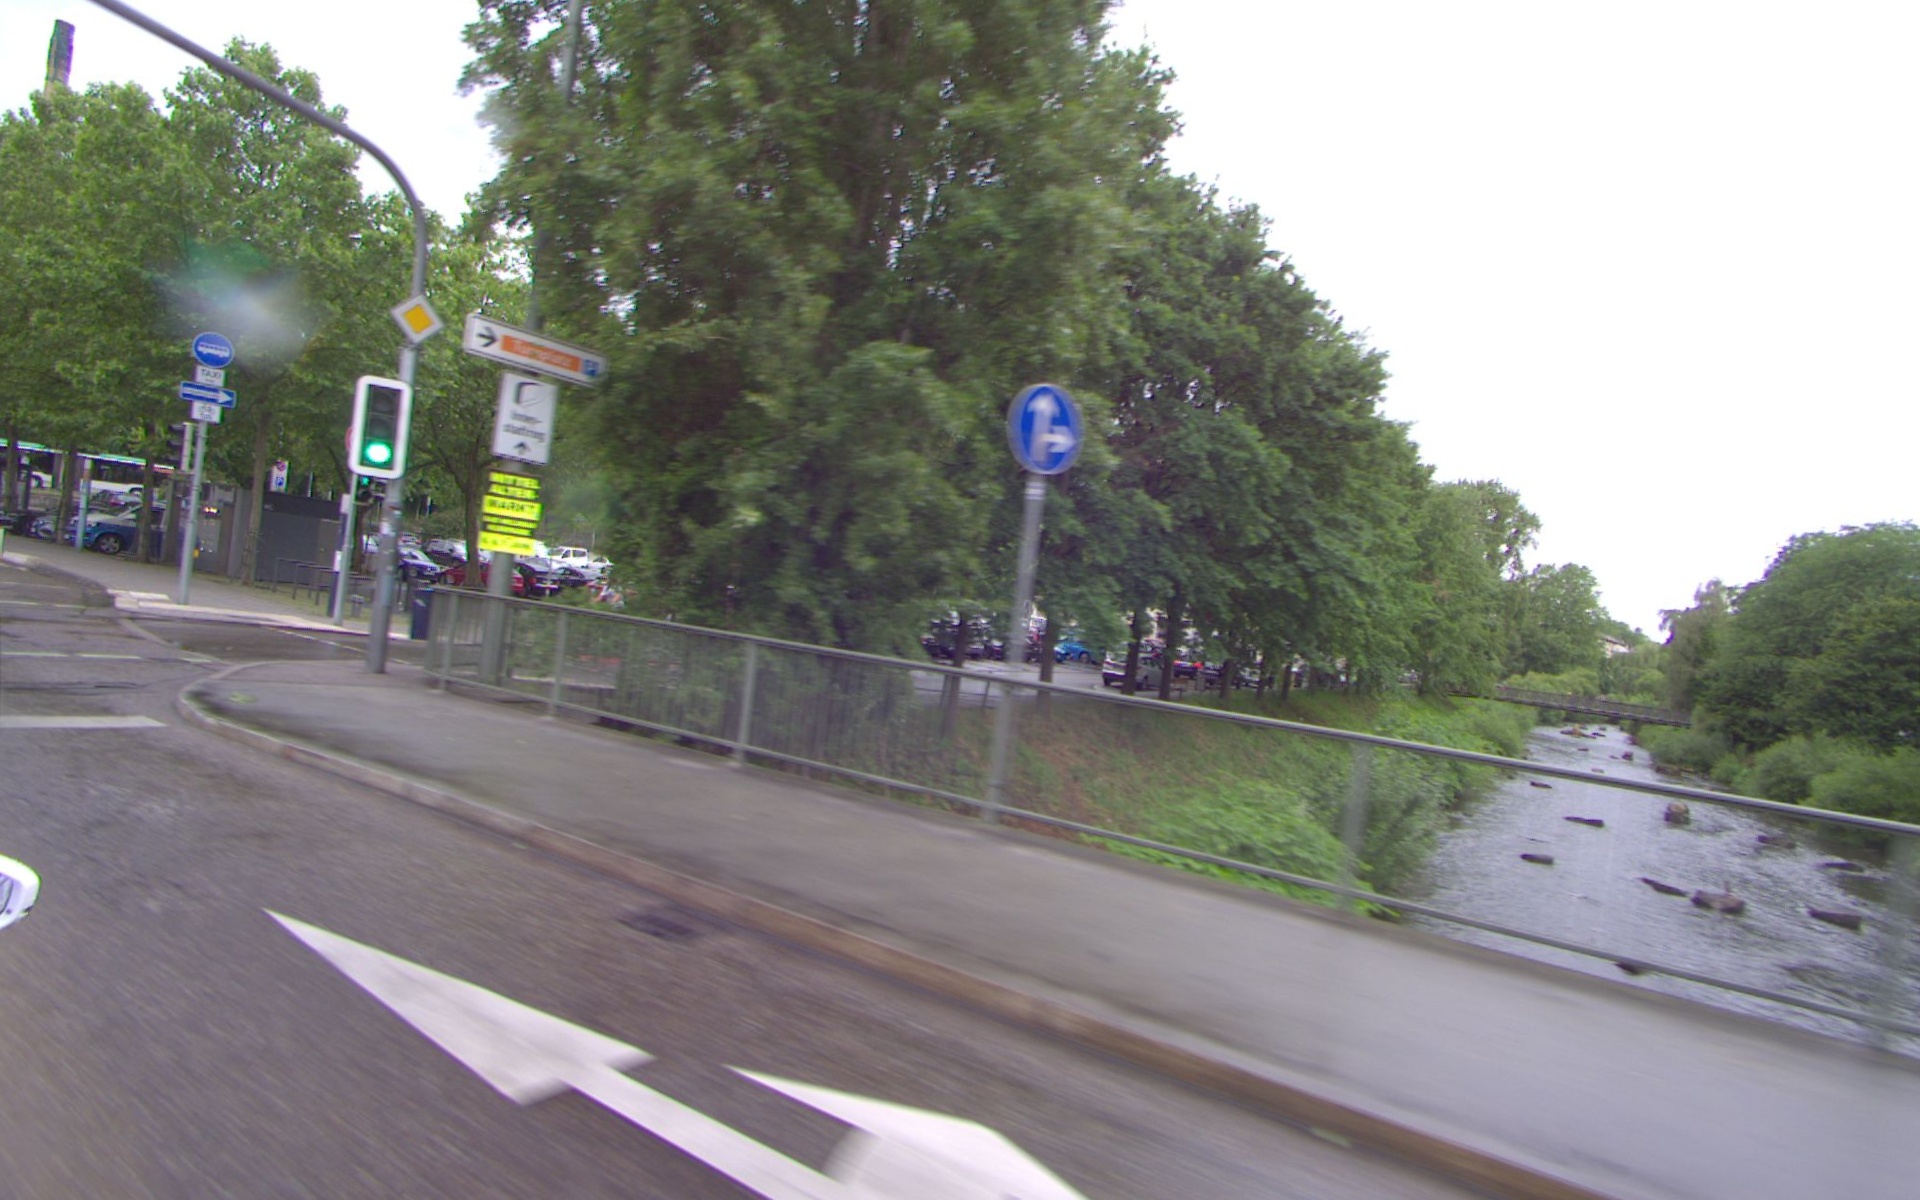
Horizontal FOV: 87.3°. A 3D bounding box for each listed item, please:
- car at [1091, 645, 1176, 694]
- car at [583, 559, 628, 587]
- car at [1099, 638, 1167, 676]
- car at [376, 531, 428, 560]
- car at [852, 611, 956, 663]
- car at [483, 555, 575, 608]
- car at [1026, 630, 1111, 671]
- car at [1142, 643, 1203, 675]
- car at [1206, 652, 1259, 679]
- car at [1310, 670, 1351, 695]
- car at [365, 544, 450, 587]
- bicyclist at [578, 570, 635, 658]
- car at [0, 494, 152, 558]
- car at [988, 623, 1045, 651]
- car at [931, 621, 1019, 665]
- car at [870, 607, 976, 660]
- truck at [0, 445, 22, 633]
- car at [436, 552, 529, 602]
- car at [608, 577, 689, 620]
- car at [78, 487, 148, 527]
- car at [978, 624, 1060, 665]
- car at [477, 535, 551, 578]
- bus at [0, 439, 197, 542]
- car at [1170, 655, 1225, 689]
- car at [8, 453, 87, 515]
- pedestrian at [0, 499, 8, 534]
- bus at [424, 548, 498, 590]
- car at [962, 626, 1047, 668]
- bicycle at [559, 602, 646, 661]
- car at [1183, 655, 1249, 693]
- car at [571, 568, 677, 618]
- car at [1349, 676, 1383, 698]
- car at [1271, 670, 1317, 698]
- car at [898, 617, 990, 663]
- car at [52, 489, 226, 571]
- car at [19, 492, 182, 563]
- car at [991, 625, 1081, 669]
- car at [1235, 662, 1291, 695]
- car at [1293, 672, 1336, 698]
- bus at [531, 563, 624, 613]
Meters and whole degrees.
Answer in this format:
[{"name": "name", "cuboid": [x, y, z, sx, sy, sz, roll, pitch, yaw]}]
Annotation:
[{"name": "car", "cuboid": [7.292, 2.934, 42.050, 1.861, 1.564, 3.992, 7, -2, 35]}, {"name": "car", "cuboid": [-30.059, -2.292, 85.247, 1.880, 1.945, 3.949, 8, 0, -45]}, {"name": "car", "cuboid": [11.832, 3.890, 68.788, 3.929, 2.004, 1.999, 8, 0, 26]}, {"name": "car", "cuboid": [-40.115, -3.899, 72.293, 3.548, 1.586, 1.634, 8, -1, 32]}, {"name": "car", "cuboid": [-2.432, 1.597, 43.383, 3.946, 1.609, 1.805, 8, -1, 28]}, {"name": "car", "cuboid": [-19.561, -0.853, 45.631, 3.938, 1.924, 1.831, 5, -5, 35]}, {"name": "car", "cuboid": [6.543, 3.063, 60.872, 4.517, 1.778, 1.934, 7, -1, 30]}, {"name": "car", "cuboid": [16.023, 4.455, 75.779, 3.929, 1.837, 1.999, 8, -1, 26]}, {"name": "car", "cuboid": [23.948, 5.759, 88.325, 3.933, 1.751, 1.953, 8, 0, 31]}, {"name": "car", "cuboid": [29.665, 6.626, 80.474, 1.968, 1.564, 3.992, 7, -2, 35]}, {"name": "car", "cuboid": [-25.209, -1.577, 45.861, 3.936, 1.450, 1.672, 7, -1, 34]}, {"name": "bicyclist", "cuboid": [-8.162, 0.331, 23.241, 0.739, 1.908, 0.645, 8, -2, 24]}, {"name": "car", "cuboid": [-33.300, -2.759, 37.893, 1.715, 1.525, 3.996, 8, -3, 34]}, {"name": "car", "cuboid": [5.028, 3.314, 89.859, 4.512, 1.869, 2.000, 7, -1, 25]}, {"name": "car", "cuboid": [0.758, 2.132, 50.289, 3.836, 1.606, 1.805, 8, -1, 28]}, {"name": "car", "cuboid": [-1.684, 1.506, 45.523, 4.270, 1.730, 1.805, 8, -1, 28]}, {"name": "truck", "cuboid": [-11.831, -0.811, 10.404, 4.642, 2.050, 2.123, 7, 0, 36]}, {"name": "car", "cuboid": [-20.488, -0.981, 43.136, 3.573, 1.672, 1.598, 7, 1, 25]}, {"name": "car", "cuboid": [-16.334, -0.090, 52.638, 3.936, 1.670, 1.822, 7, -1, 34]}, {"name": "car", "cuboid": [-50.463, -5.566, 59.917, 4.157, 1.847, 1.834, 7, -1, 32]}, {"name": "car", "cuboid": [3.190, 2.422, 54.448, 3.836, 1.606, 1.805, 8, -1, 28]}, {"name": "car", "cuboid": [-27.405, -2.697, 61.843, 3.994, 2.037, 1.998, 7, -1, 30]}, {"name": "bus", "cuboid": [-65.607, -8.238, 71.333, 3.049, 5.271, 17.946, 7, -2, 33]}, {"name": "car", "cuboid": [14.076, 4.260, 59.512, 1.730, 1.564, 3.992, 7, -2, 35]}, {"name": "car", "cuboid": [-52.846, -6.700, 58.233, 4.157, 3.005, 2.076, 7, -1, 32]}, {"name": "pedestrian", "cuboid": [-38.845, -3.420, 40.374, 0.715, 1.373, 0.622, 7, -1, 33]}, {"name": "bus", "cuboid": [-29.526, -1.836, 59.476, 3.936, 1.968, 1.998, 5, -4, 34]}, {"name": "car", "cuboid": [2.307, 2.436, 52.218, 3.836, 1.606, 1.805, 8, -1, 28]}, {"name": "bicycle", "cuboid": [-8.173, 0.744, 23.066, 0.510, 1.135, 1.953, 8, -3, 25]}, {"name": "car", "cuboid": [13.562, 3.947, 53.124, 1.968, 1.564, 3.992, 7, -2, 35]}, {"name": "car", "cuboid": [-14.367, -0.273, 43.203, 1.774, 1.640, 4.131, 8, -1, 27]}, {"name": "car", "cuboid": [36.607, 7.830, 90.627, 1.882, 1.564, 3.992, 7, -2, 35]}, {"name": "car", "cuboid": [23.697, 5.985, 71.281, 1.968, 1.564, 3.992, 7, -2, 35]}, {"name": "car", "cuboid": [-0.778, 1.927, 48.275, 3.836, 1.606, 1.805, 8, -1, 28]}, {"name": "car", "cuboid": [-27.604, -2.321, 33.958, 1.938, 1.946, 3.994, 8, -2, 34]}, {"name": "car", "cuboid": [-31.156, -2.599, 36.559, 1.886, 1.667, 3.996, 8, -3, 34]}, {"name": "car", "cuboid": [4.295, 2.650, 57.020, 4.517, 1.778, 1.934, 7, -1, 30]}, {"name": "car", "cuboid": [18.426, 4.770, 61.123, 1.968, 1.564, 3.992, 7, -2, 35]}, {"name": "car", "cuboid": [26.937, 6.457, 76.350, 1.968, 1.564, 3.992, 7, -2, 35]}, {"name": "bus", "cuboid": [-17.911, -0.576, 47.075, 3.935, 1.743, 1.997, 7, -1, 33]}]
